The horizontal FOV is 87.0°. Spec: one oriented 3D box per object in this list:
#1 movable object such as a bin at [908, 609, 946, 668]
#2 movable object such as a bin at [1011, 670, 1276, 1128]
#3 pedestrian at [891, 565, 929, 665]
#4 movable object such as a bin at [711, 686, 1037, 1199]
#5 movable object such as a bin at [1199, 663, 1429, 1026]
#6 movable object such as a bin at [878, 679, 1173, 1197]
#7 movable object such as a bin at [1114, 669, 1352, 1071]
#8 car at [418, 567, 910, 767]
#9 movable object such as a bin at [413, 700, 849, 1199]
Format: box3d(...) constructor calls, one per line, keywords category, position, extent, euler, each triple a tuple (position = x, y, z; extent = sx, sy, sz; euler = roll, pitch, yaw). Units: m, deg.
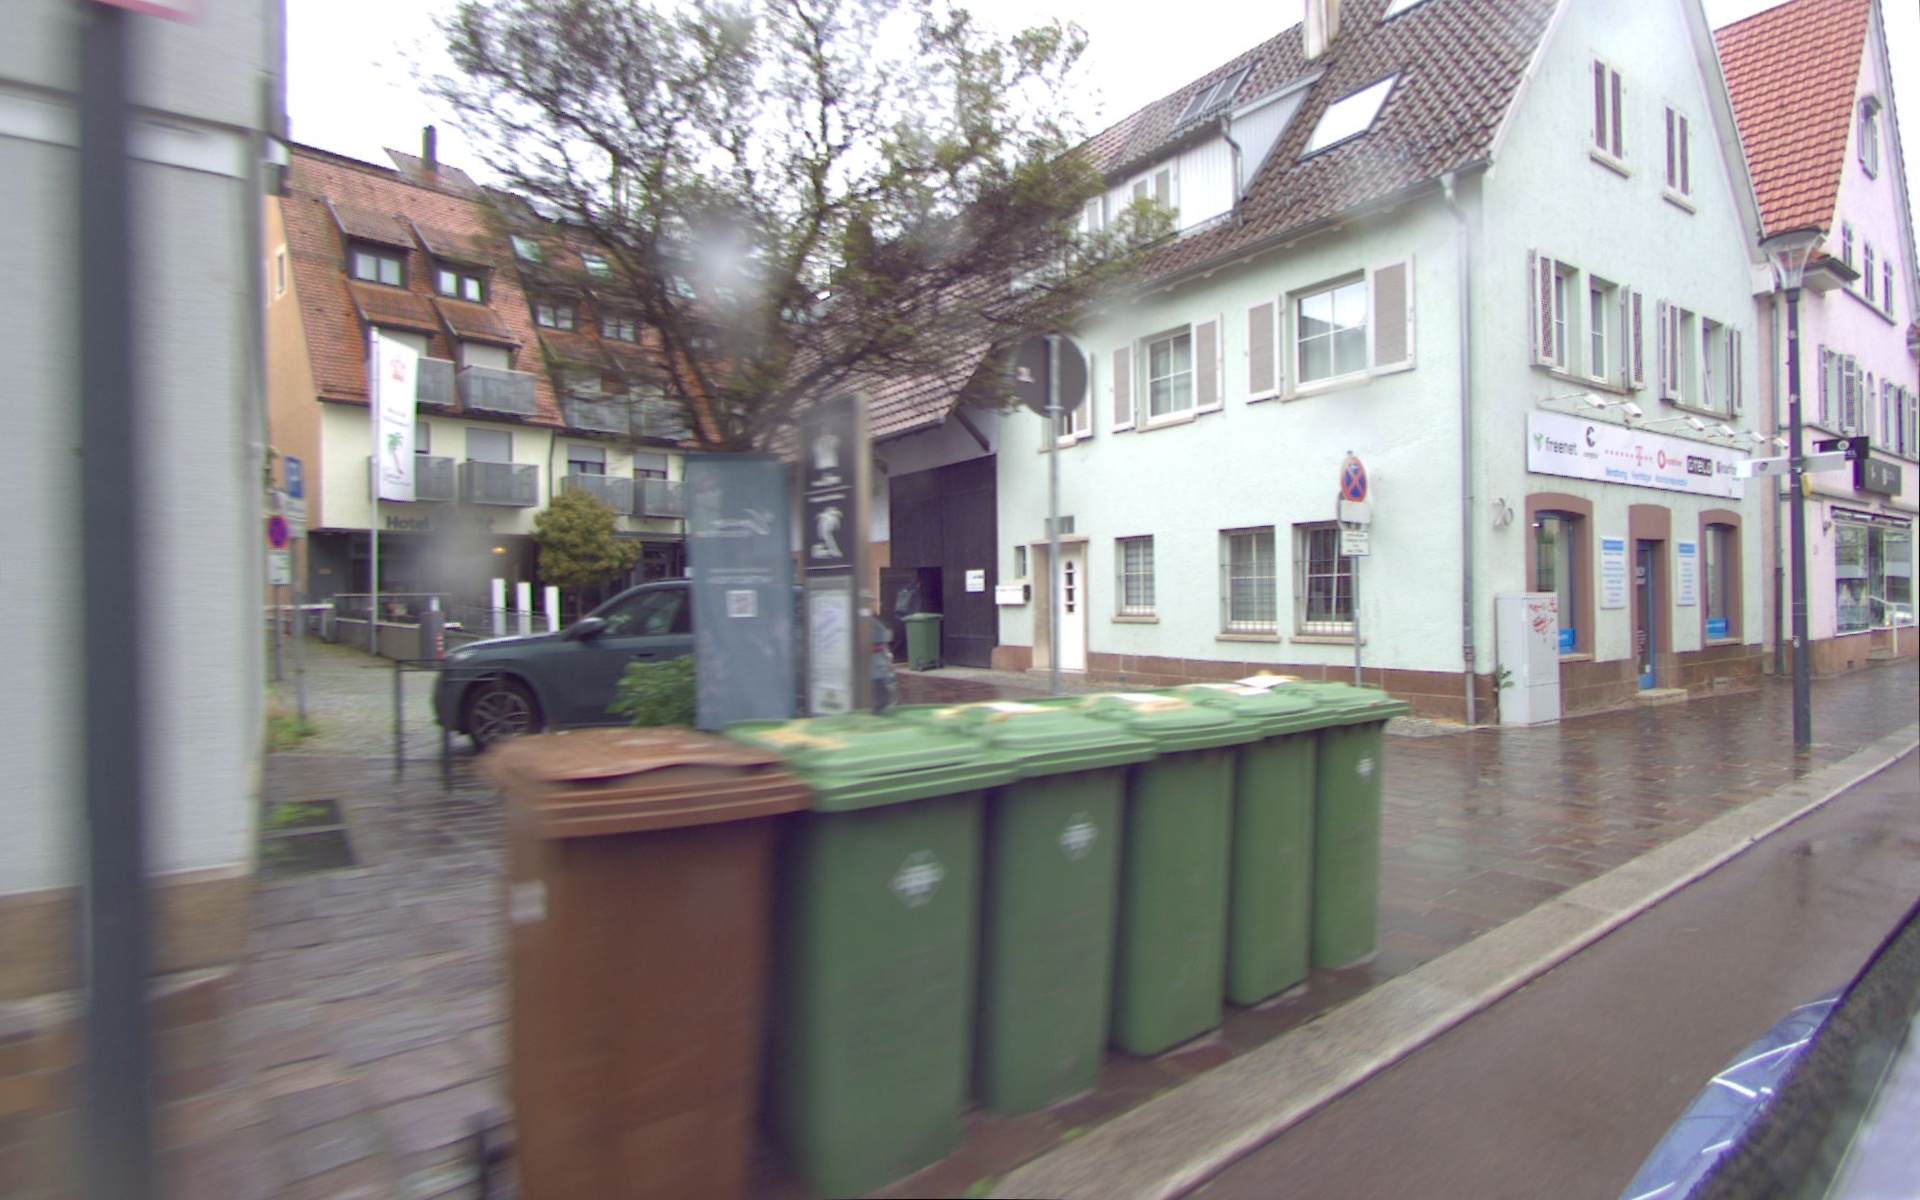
box3d(category="movable object such as a bin", position=(-0.637, 0.737, 19.540), extent=(0.534, 1.094, 0.568), euler=(-1, 0, -24))
box3d(category="movable object such as a bin", position=(0.604, 0.908, 3.402), extent=(0.533, 1.272, 0.679), euler=(-1, 0, -39))
box3d(category="pedestrian", position=(-1.002, 0.292, 20.220), extent=(0.566, 1.944, 0.509), euler=(1, 0, 21))
box3d(category="movable object such as a bin", position=(-0.240, 0.902, 2.665), extent=(0.555, 1.266, 0.679), euler=(-1, 0, -39))
box3d(category="movable object such as a bin", position=(1.443, 0.922, 4.148), extent=(0.610, 1.254, 0.659), euler=(-1, 0, -39))
box3d(category="movable object such as a bin", position=(0.185, 0.902, 3.037), extent=(0.555, 1.248, 0.679), euler=(-1, 0, -39))
box3d(category="movable object such as a bin", position=(1.007, 0.922, 3.770), extent=(0.533, 1.261, 0.659), euler=(-1, 0, -39))
box3d(category="car", position=(-2.703, 0.580, 9.944), extent=(4.278, 1.676, 1.824), euler=(1, 1, 2))
box3d(category="movable object such as a bin", position=(-0.741, 0.909, 2.262), extent=(0.718, 1.256, 0.679), euler=(-1, 0, -39))
